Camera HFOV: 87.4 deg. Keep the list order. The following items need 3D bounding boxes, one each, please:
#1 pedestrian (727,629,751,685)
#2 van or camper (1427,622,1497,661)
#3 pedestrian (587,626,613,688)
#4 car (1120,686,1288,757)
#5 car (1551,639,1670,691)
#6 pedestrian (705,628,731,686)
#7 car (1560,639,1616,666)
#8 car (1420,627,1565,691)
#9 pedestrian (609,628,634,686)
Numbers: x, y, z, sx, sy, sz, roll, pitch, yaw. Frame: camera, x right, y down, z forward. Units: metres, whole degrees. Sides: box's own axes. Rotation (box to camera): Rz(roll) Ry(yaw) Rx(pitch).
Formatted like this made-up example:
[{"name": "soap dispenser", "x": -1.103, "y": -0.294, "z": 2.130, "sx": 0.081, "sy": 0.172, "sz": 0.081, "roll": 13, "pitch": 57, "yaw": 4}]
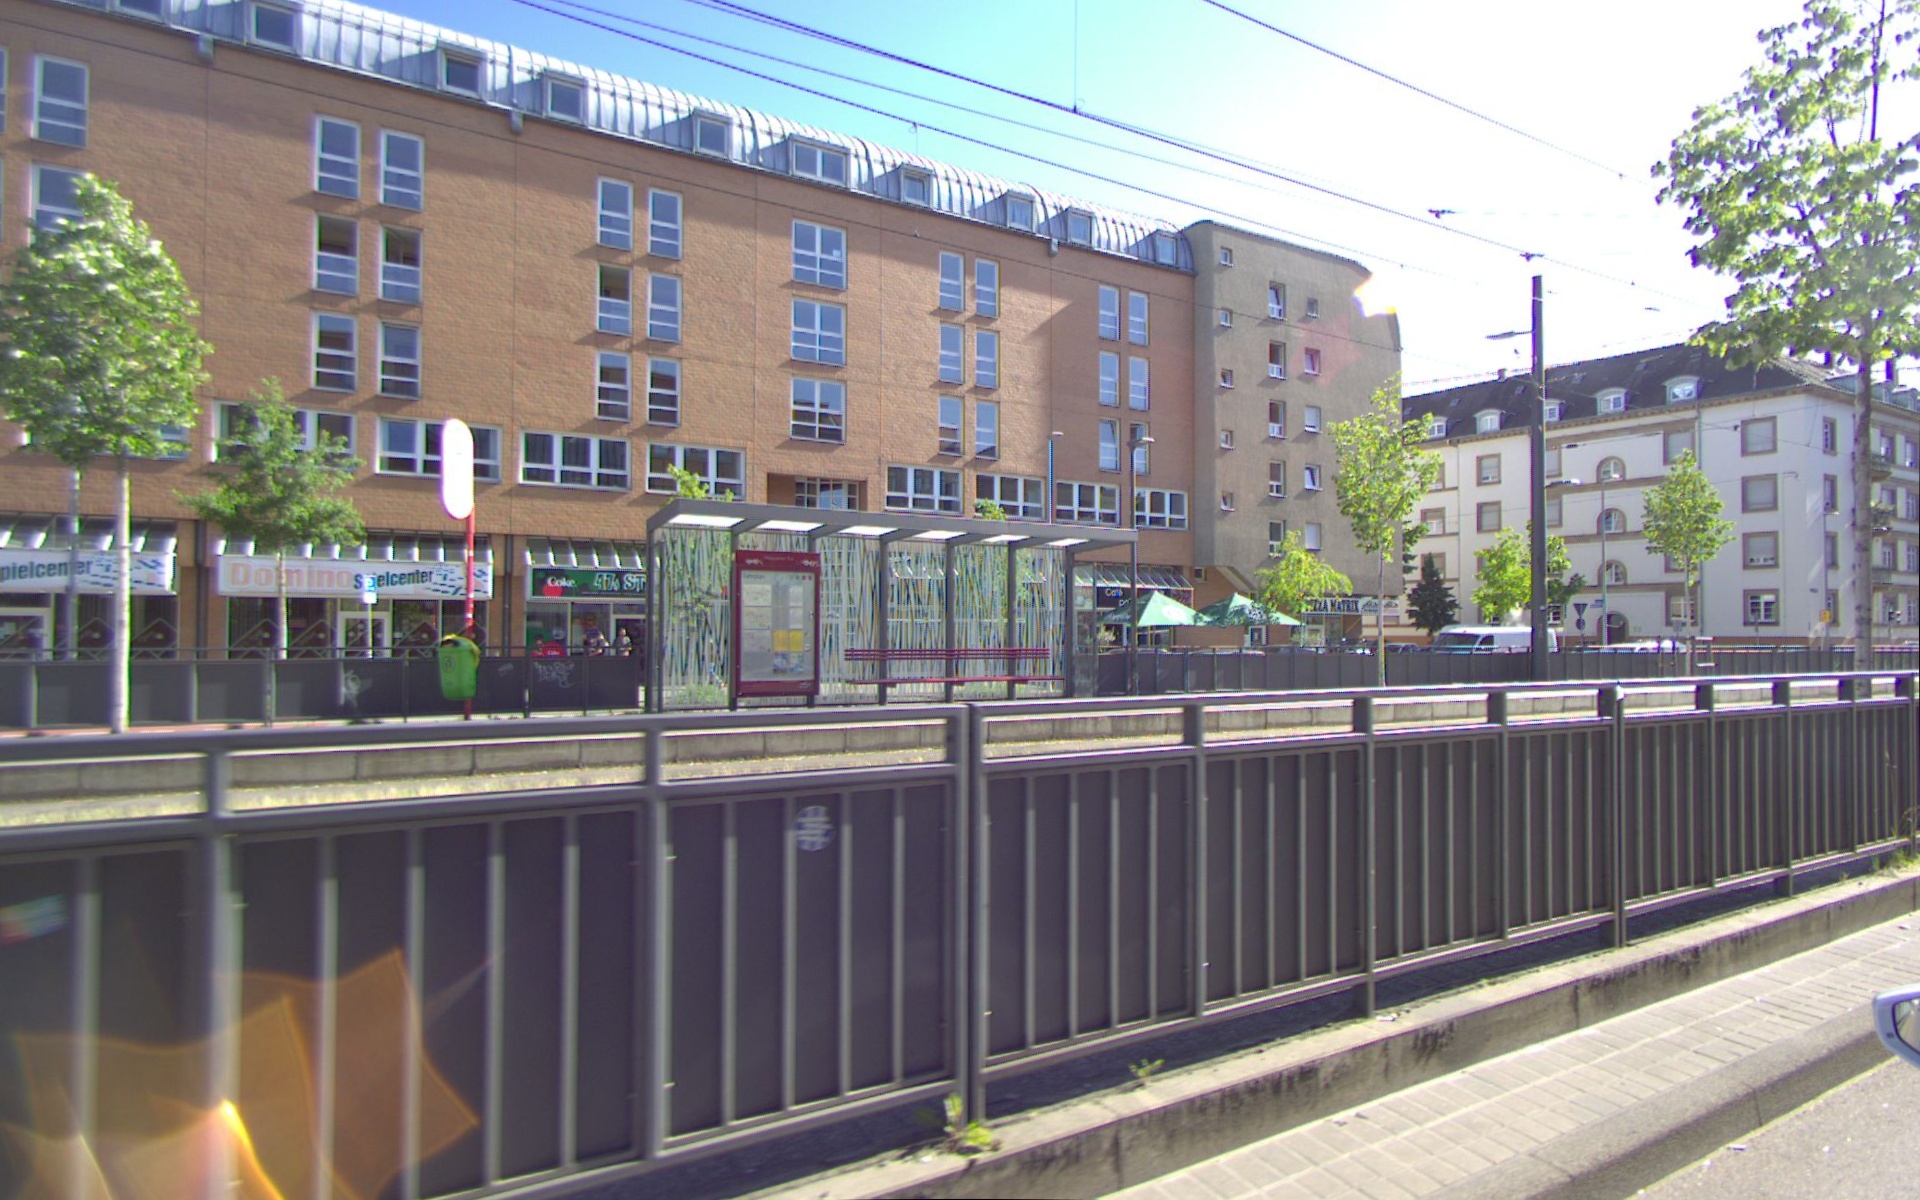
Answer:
[{"name": "pedestrian", "x": -7.451, "y": 1.910, "z": 33.881, "sx": 0.637, "sy": 1.864, "sz": 0.618, "roll": 1, "pitch": -2, "yaw": -29}, {"name": "van or camper", "x": 32.839, "y": 2.715, "z": 65.578, "sx": 5.910, "sy": 2.432, "sz": 1.977, "roll": 2, "pitch": -3, "yaw": -41}, {"name": "pedestrian", "x": -11.126, "y": 1.752, "z": 31.021, "sx": 0.637, "sy": 1.864, "sz": 0.617, "roll": 1, "pitch": -2, "yaw": -31}, {"name": "car", "x": 6.184, "y": 3.006, "z": 25.424, "sx": 3.954, "sy": 1.483, "sz": 1.869, "roll": 2, "pitch": -1, "yaw": -31}, {"name": "car", "x": 23.402, "y": 2.326, "z": 36.127, "sx": 3.953, "sy": 1.706, "sz": 1.984, "roll": 2, "pitch": -1, "yaw": -30}, {"name": "pedestrian", "x": -7.801, "y": 1.828, "z": 32.352, "sx": 0.637, "sy": 1.864, "sz": 0.617, "roll": 1, "pitch": -2, "yaw": -31}, {"name": "car", "x": 37.193, "y": 3.099, "z": 59.480, "sx": 3.642, "sy": 1.542, "sz": 1.673, "roll": 2, "pitch": -3, "yaw": -39}, {"name": "car", "x": 21.227, "y": 2.300, "z": 40.029, "sx": 5.562, "sy": 2.401, "sz": 1.990, "roll": 1, "pitch": -2, "yaw": -22}, {"name": "pedestrian", "x": -11.045, "y": 1.866, "z": 32.787, "sx": 0.637, "sy": 1.864, "sz": 0.617, "roll": 1, "pitch": -2, "yaw": -31}]
